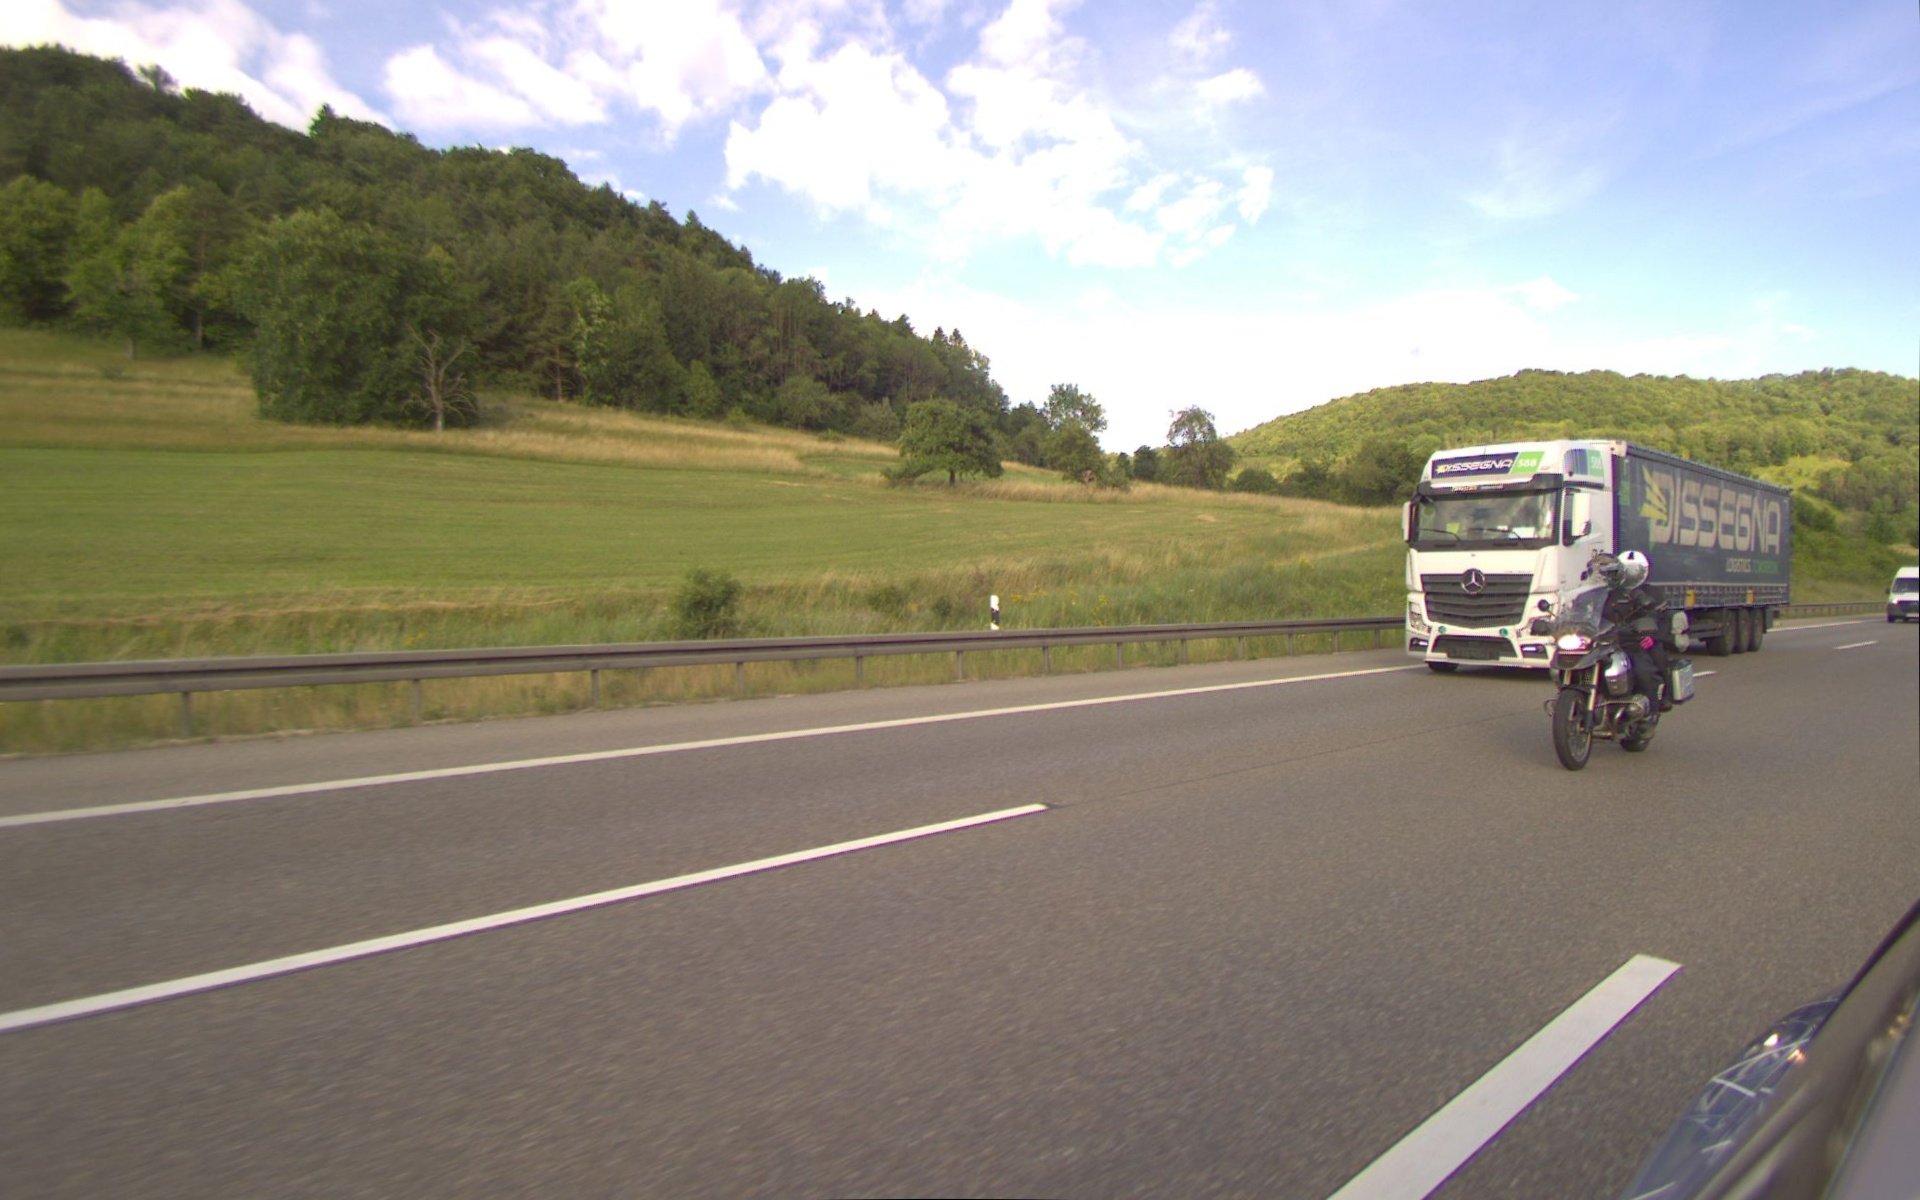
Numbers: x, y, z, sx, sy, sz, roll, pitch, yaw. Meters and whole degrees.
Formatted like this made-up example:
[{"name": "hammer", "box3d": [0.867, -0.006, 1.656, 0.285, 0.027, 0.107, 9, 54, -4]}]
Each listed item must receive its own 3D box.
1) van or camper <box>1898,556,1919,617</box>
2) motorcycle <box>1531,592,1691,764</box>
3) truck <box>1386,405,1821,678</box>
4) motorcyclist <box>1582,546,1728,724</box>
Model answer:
[{"name": "van or camper", "box3d": [45.985, -0.607, 47.310, 7.385, 2.752, 1.998, 0, 0, -38]}, {"name": "motorcycle", "box3d": [5.688, 0.613, 8.811, 1.707, 1.356, 0.629, 0, 0, -37]}, {"name": "truck", "box3d": [14.851, -0.950, 21.824, 17.420, 4.042, 2.970, -1, 0, -41]}, {"name": "motorcyclist", "box3d": [6.373, 0.296, 9.294, 0.782, 1.534, 0.879, 0, 0, -35]}]
